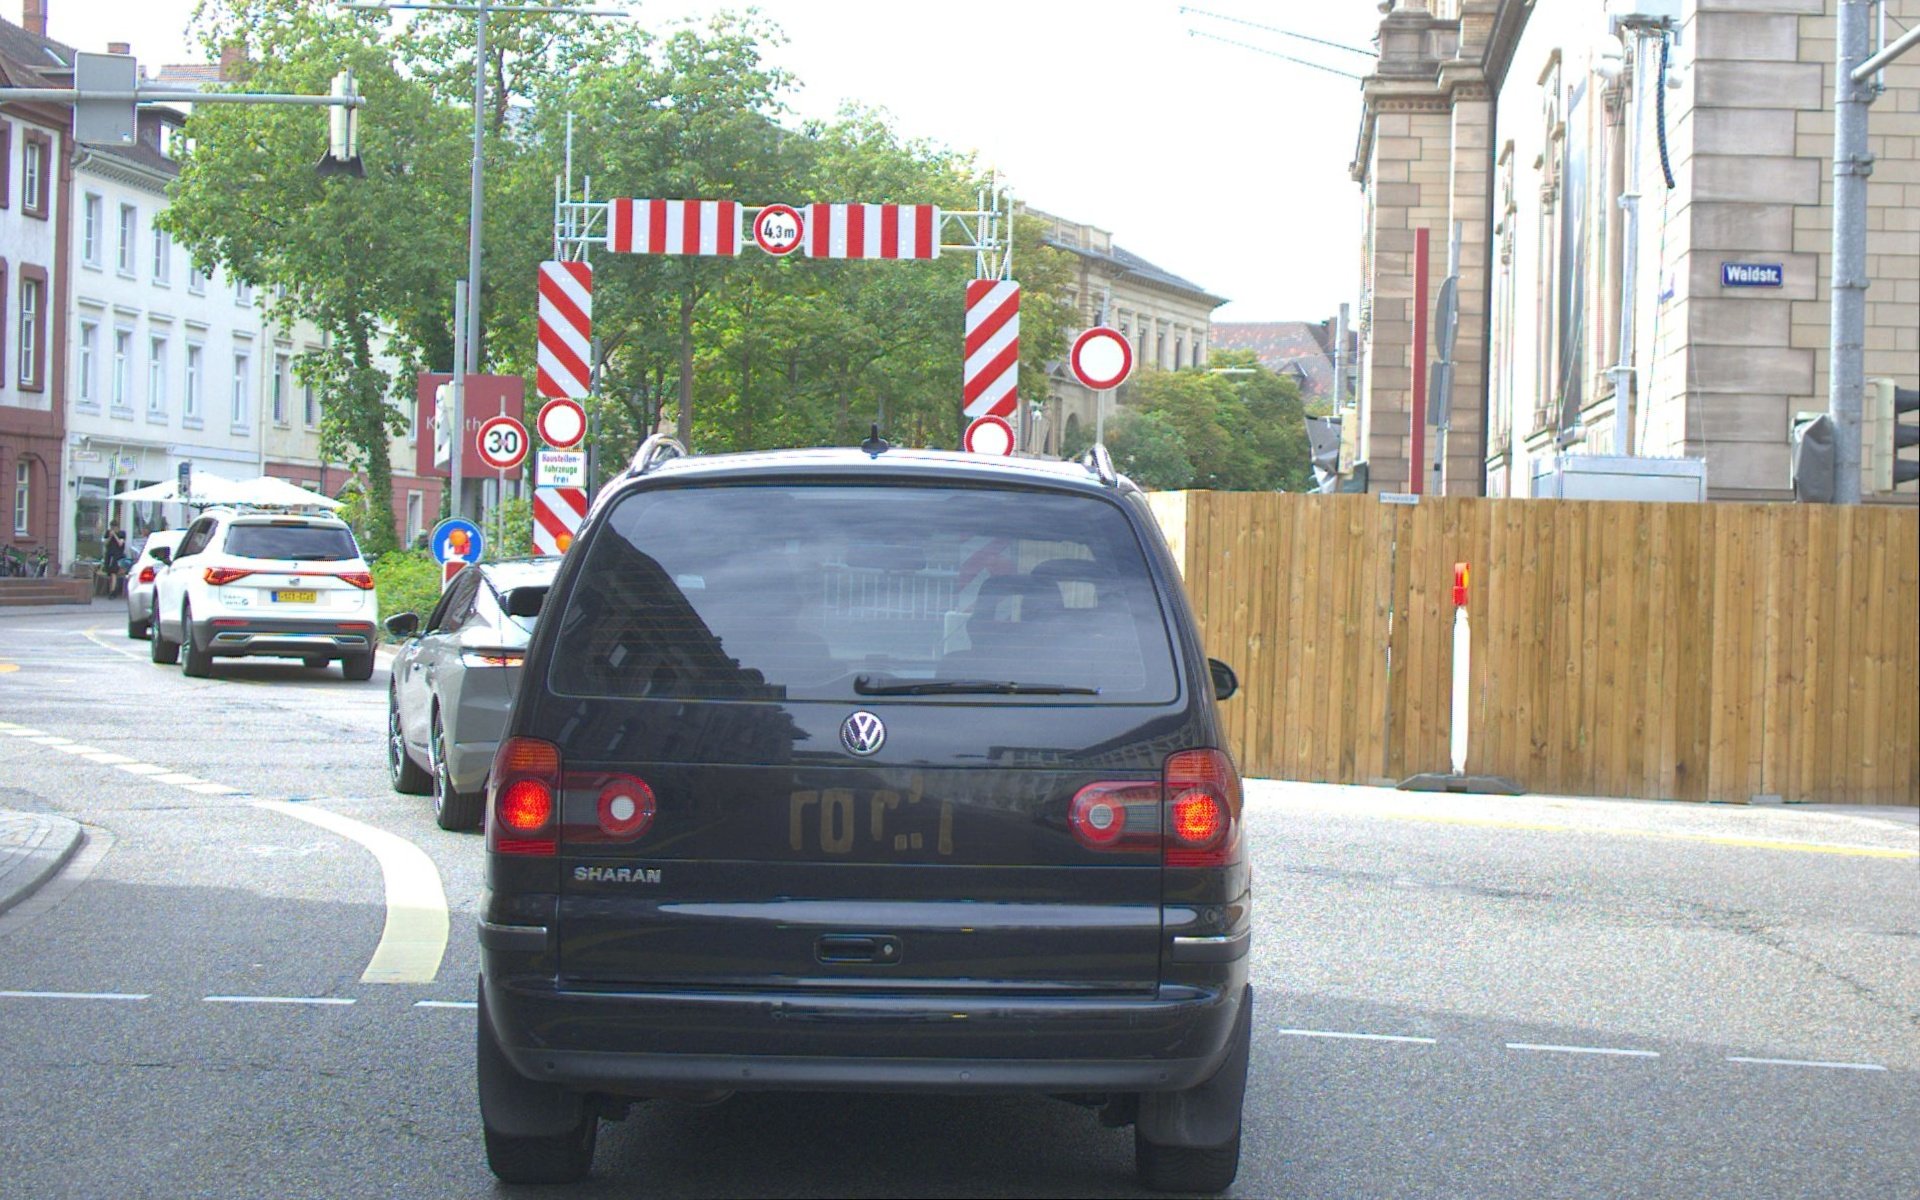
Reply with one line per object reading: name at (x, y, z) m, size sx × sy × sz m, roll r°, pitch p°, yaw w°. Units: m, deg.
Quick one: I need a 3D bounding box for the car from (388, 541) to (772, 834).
car at (-2.263, 0.424, 19.554) m, size 1.677 × 1.464 × 4.104 m, roll 2°, pitch 1°, yaw -13°

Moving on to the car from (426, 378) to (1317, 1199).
car at (-0.224, 0.441, 9.142) m, size 1.789 × 1.784 × 4.103 m, roll 2°, pitch 0°, yaw -1°

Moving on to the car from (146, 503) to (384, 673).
car at (-7.007, -0.136, 34.370) m, size 1.772 × 1.580 × 4.001 m, roll 1°, pitch 0°, yaw -19°

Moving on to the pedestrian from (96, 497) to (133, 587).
pedestrian at (-19.103, -1.302, 77.709) m, size 0.585 × 2.007 × 0.686 m, roll 1°, pitch 0°, yaw 7°

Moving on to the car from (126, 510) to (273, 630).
car at (-10.164, -0.403, 45.778) m, size 1.703 × 1.496 × 4.001 m, roll 1°, pitch 0°, yaw -15°
